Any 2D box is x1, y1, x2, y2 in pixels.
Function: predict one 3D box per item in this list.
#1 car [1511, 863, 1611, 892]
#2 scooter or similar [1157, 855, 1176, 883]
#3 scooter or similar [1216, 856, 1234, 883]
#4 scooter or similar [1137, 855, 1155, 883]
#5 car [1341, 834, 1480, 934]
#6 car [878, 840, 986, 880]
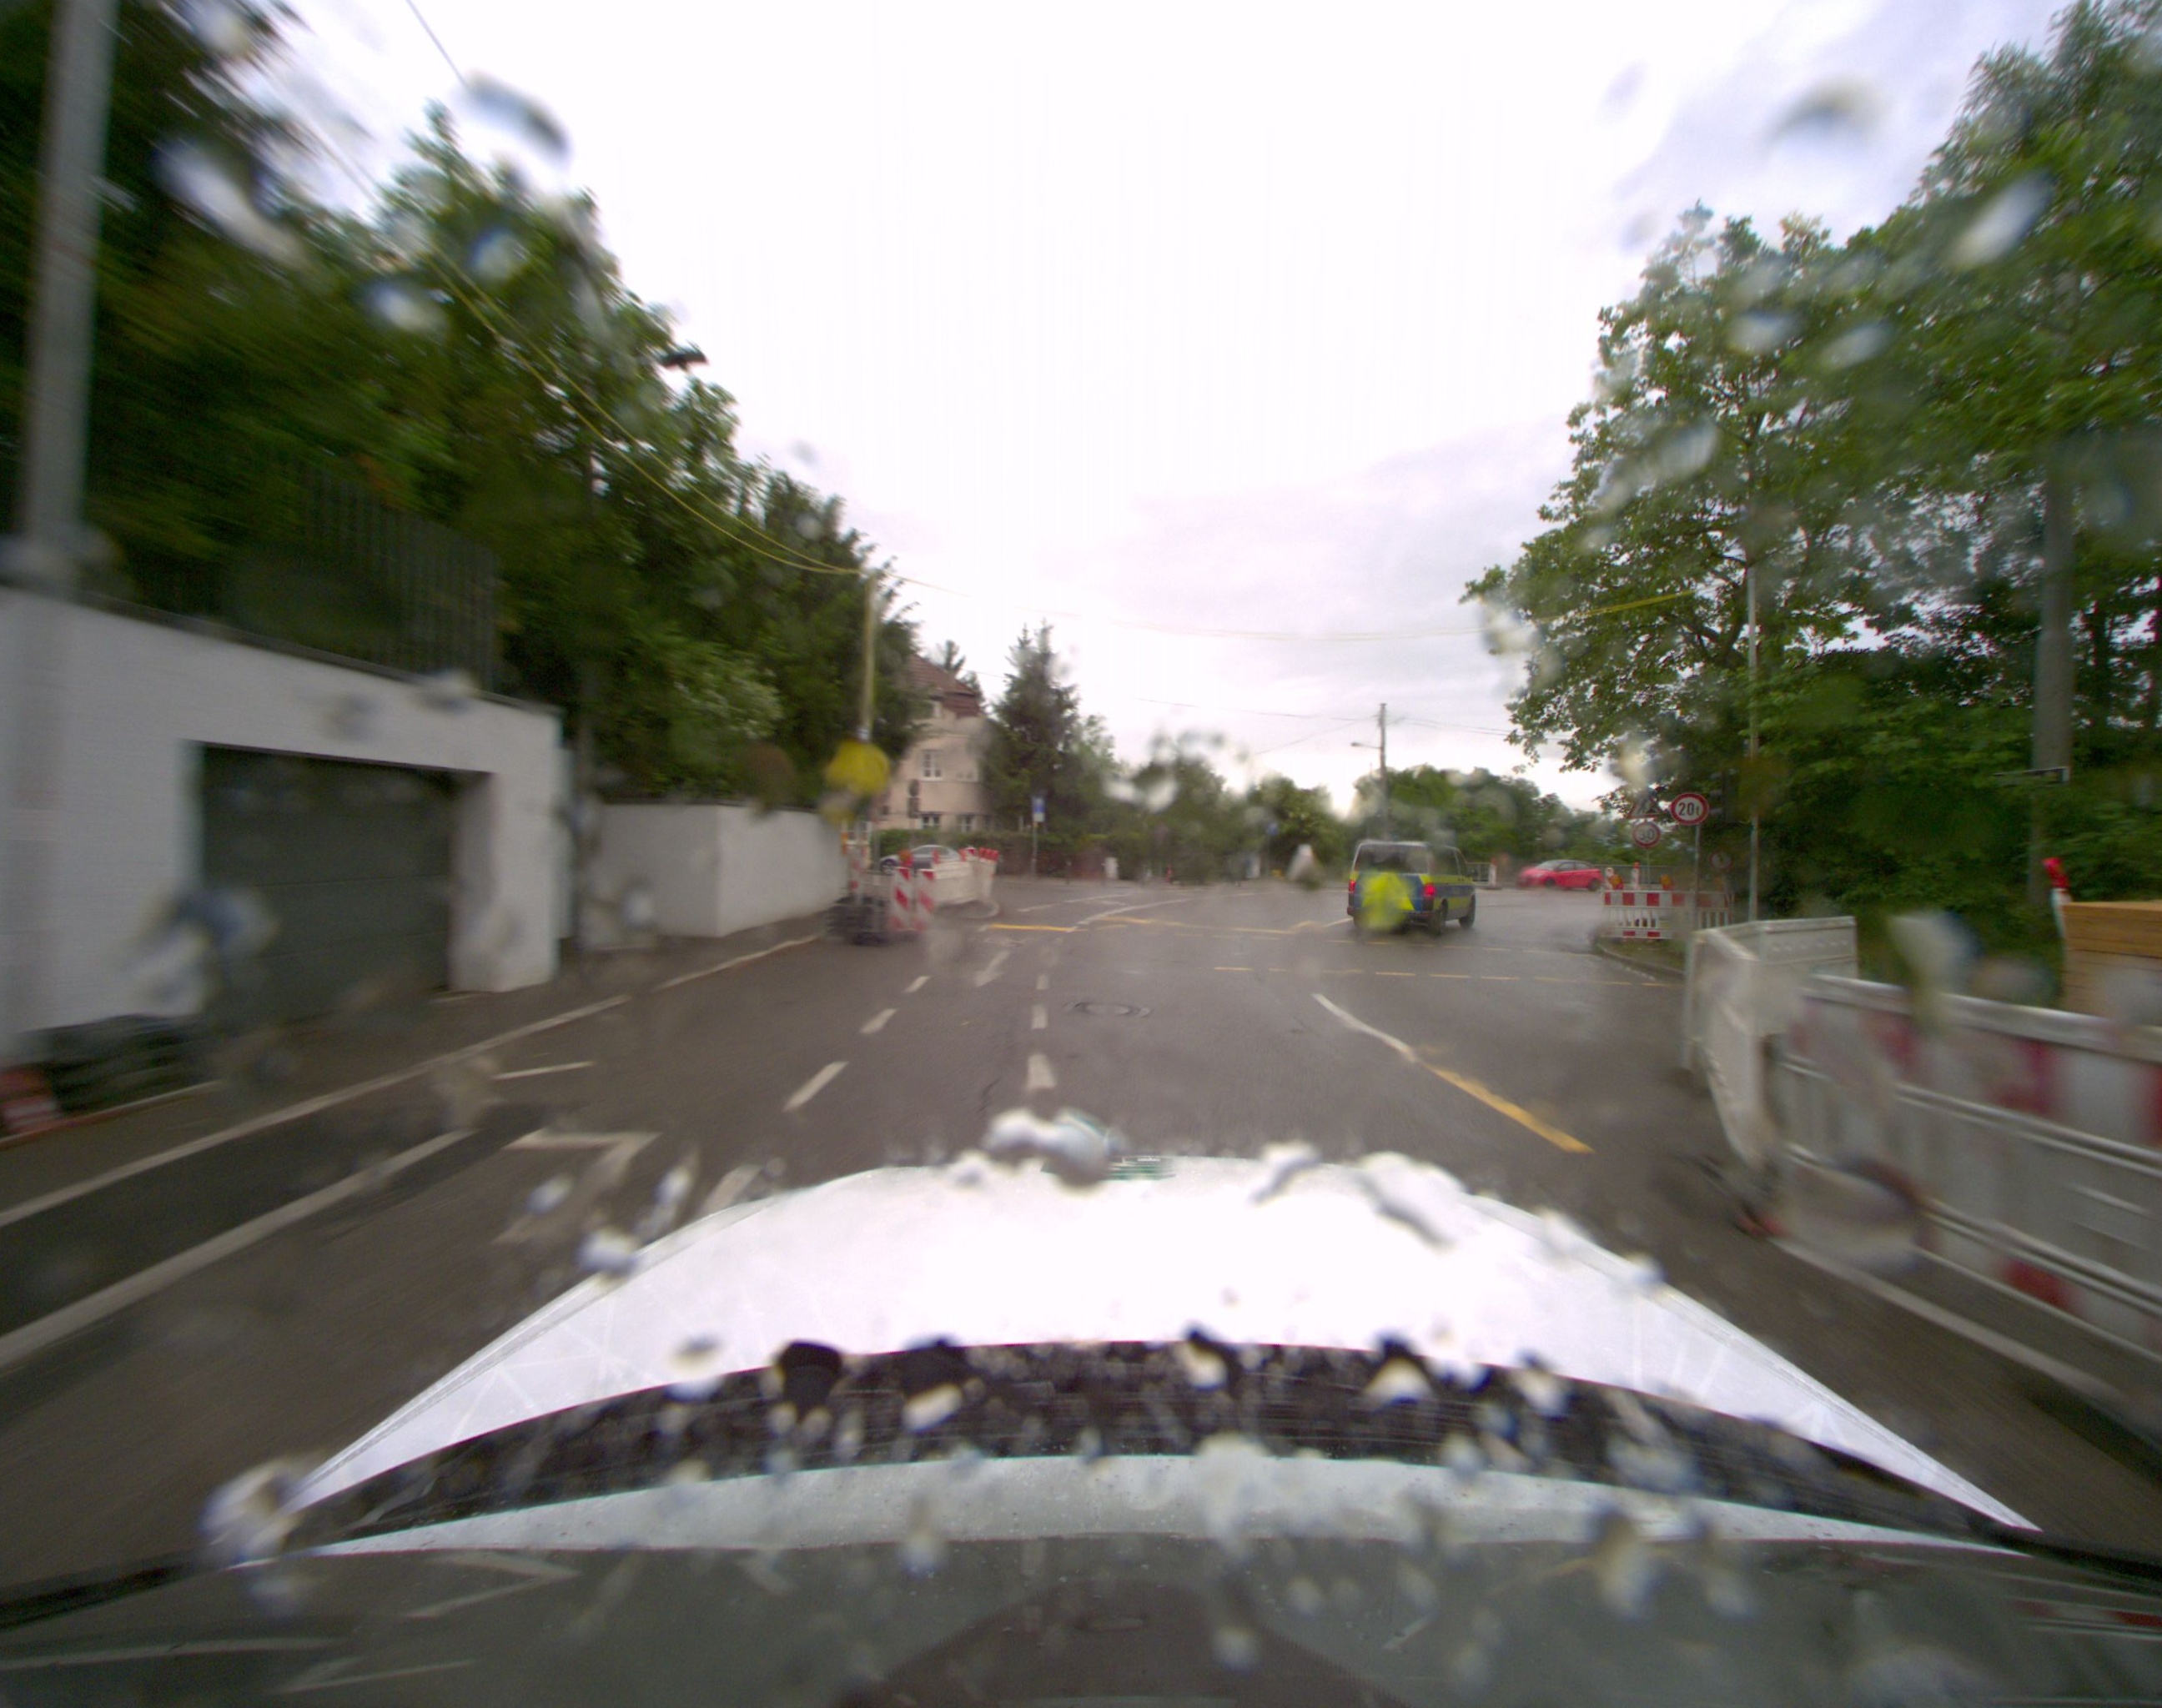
[{"bbox_3d":[23.347,1.121,39.625,3.987,1.332,1.792,-1,-1,-10],"label":"car"},{"bbox_3d":[3.597,0.642,34.192,0.465,1.144,0.990,2,-1,-14],"label":"scooter or similar"},{"bbox_3d":[6.188,0.652,34.941,0.464,1.144,0.831,2,-1,-11],"label":"scooter or similar"},{"bbox_3d":[2.734,0.626,34.482,0.464,1.187,1.021,2,-1,-13],"label":"scooter or similar"},{"bbox_3d":[7.691,0.646,18.719,1.889,2.010,4.467,1,-1,36],"label":"car"},{"bbox_3d":[-6.146,0.229,33.622,3.957,1.517,1.735,1,-1,16],"label":"car"}]
